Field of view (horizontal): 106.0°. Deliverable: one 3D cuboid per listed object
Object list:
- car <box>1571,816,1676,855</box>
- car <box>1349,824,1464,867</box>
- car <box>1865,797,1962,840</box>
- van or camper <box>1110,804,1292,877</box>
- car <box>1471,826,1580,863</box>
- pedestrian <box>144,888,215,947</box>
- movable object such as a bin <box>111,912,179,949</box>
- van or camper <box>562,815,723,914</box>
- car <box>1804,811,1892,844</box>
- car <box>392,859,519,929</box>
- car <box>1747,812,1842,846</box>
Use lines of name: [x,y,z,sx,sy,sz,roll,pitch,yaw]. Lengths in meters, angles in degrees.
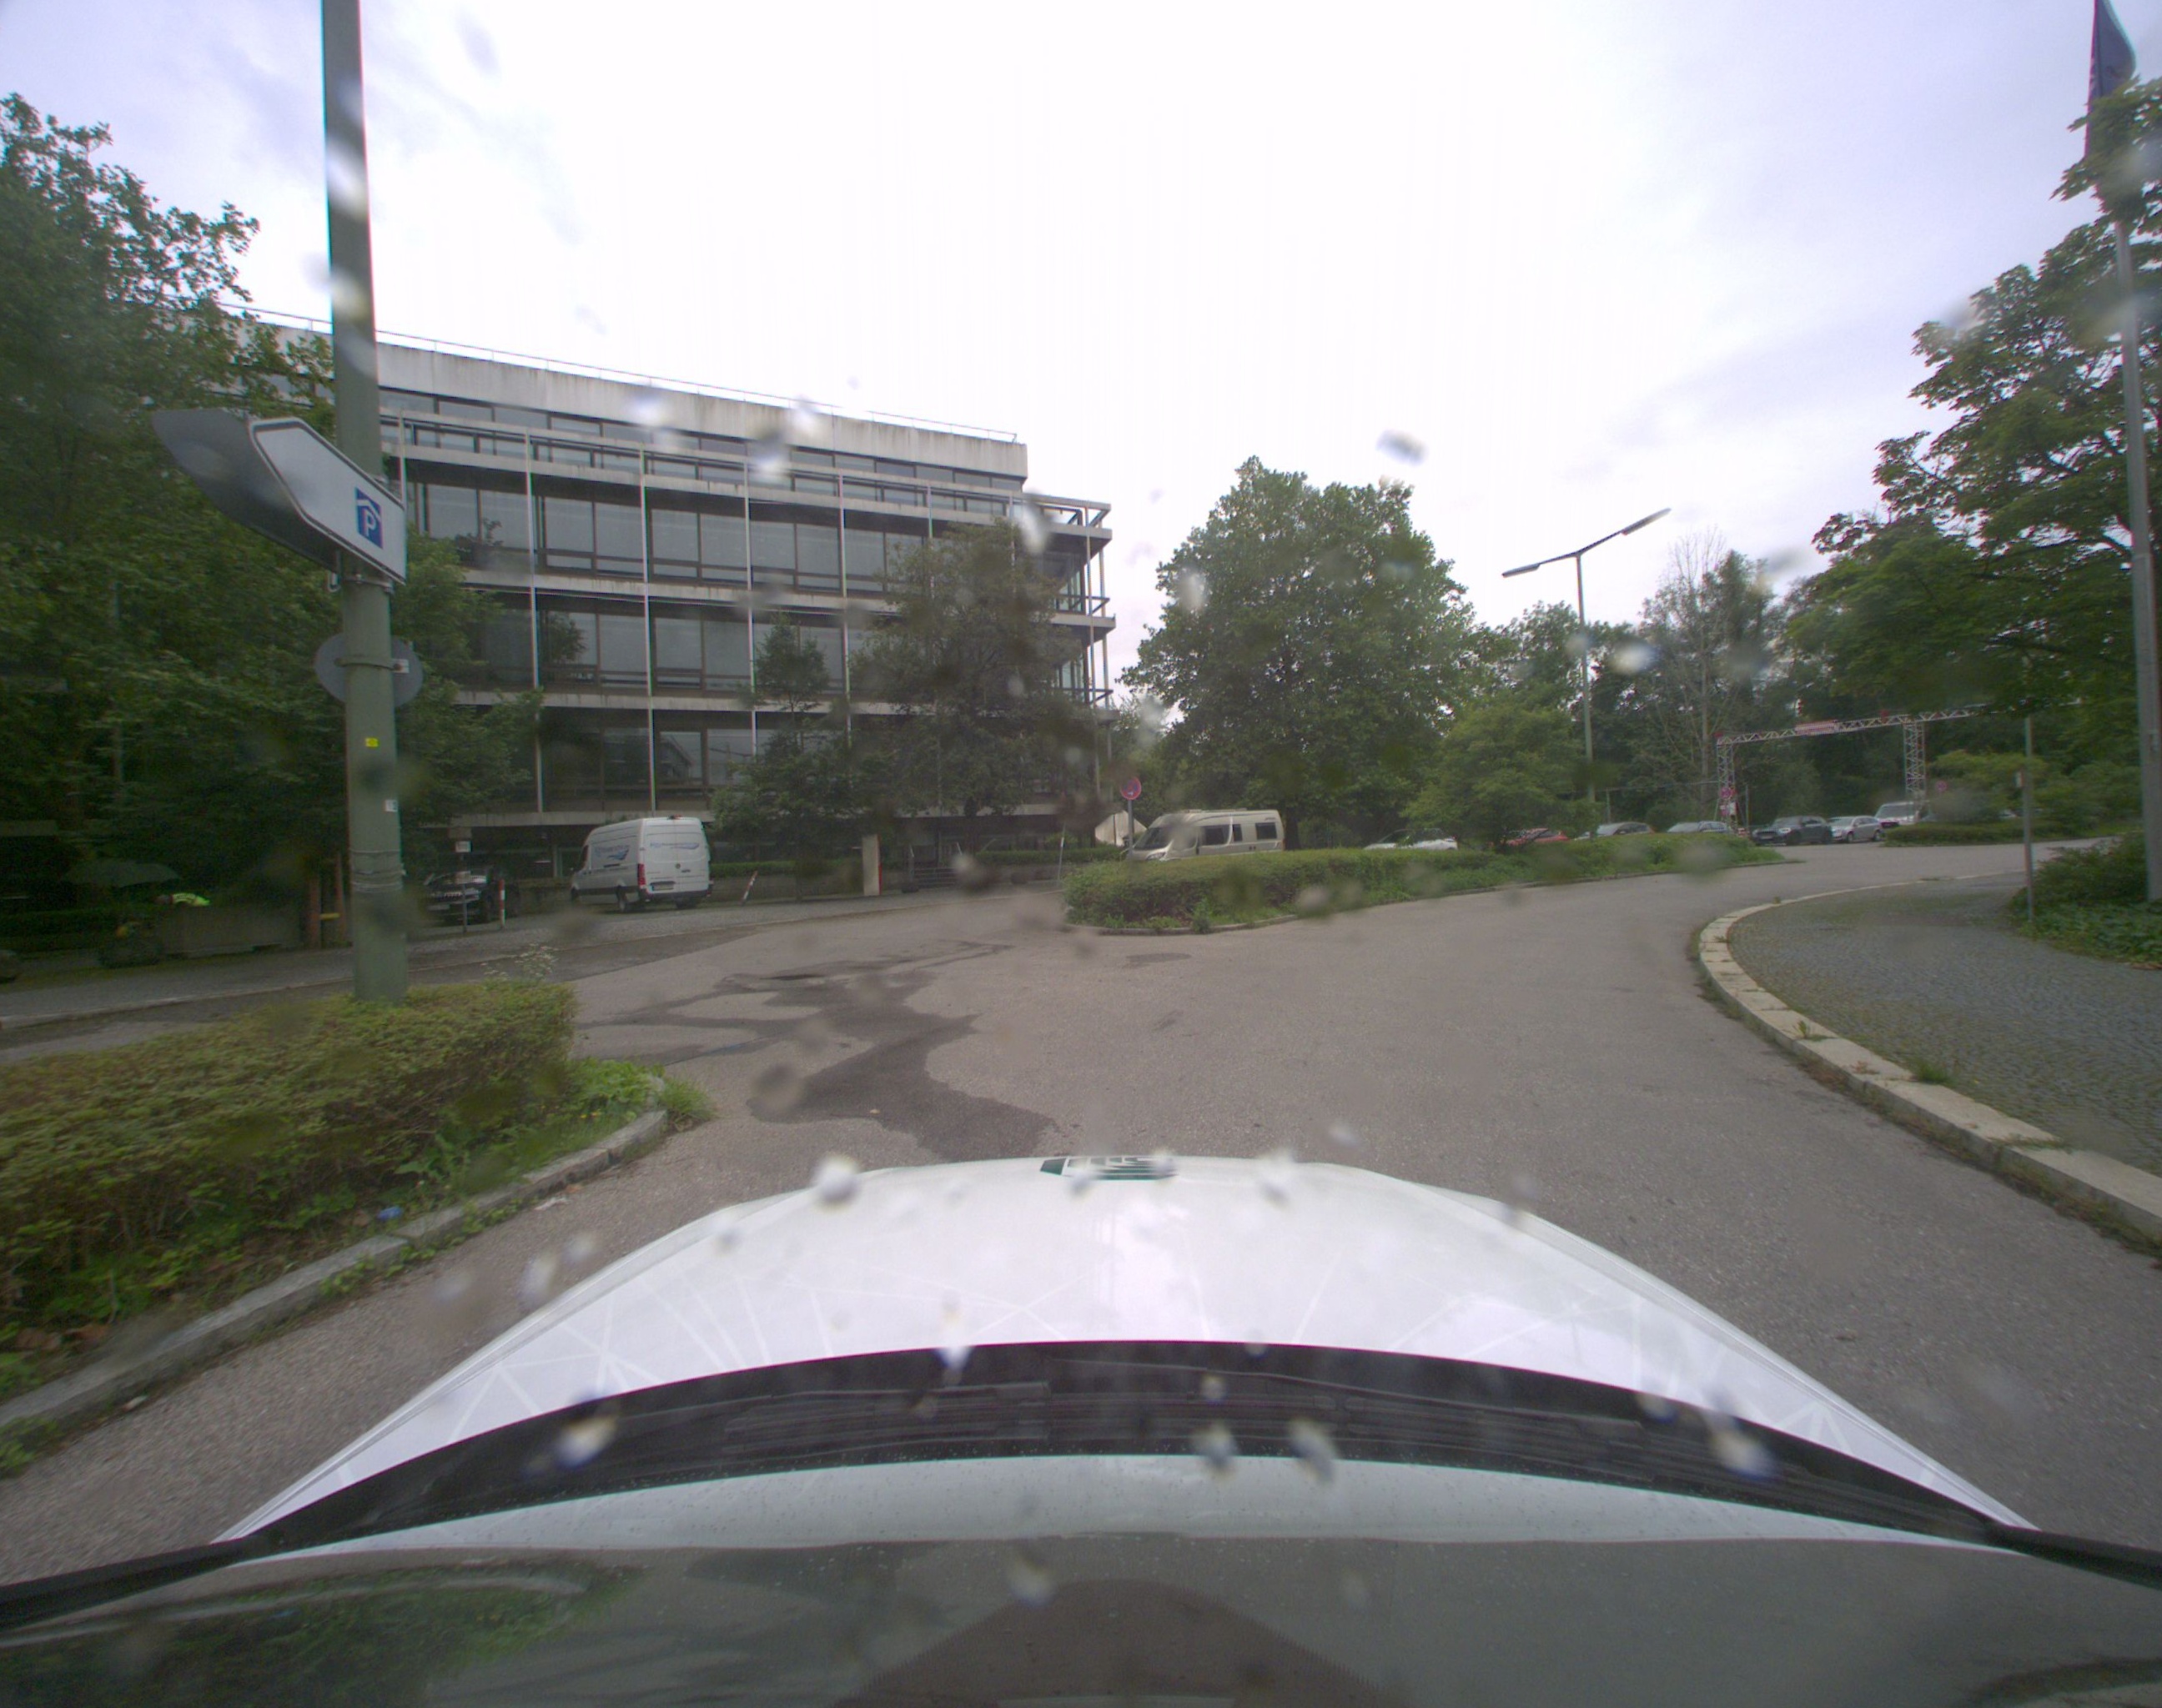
car: [24.722,-0.820,37.116,4.001,1.574,1.986,-3,0,-21]
car: [13.101,-0.348,32.834,4.001,1.508,1.986,-3,0,-21]
car: [47.056,-2.011,46.023,4.876,2.227,2.189,-3,0,-23]
van or camper: [4.265,-0.514,28.176,6.447,2.281,2.230,-2,0,-36]
car: [19.097,-0.403,35.008,4.001,1.409,1.986,-3,0,-21]
pedestrian: [-20.858,1.466,18.855,0.929,1.278,0.538,-2,0,-20]
movable object such as a bin: [-21.364,1.733,18.606,0.837,0.753,0.569,-2,0,-19]
van or camper: [-13.207,0.420,24.273,6.455,2.580,2.176,-4,-2,43]
car: [41.437,-1.408,43.998,4.005,1.574,1.985,-3,0,-23]
car: [-17.722,1.066,23.301,1.951,1.721,4.203,-2,0,-25]
car: [36.798,-1.290,42.010,4.001,1.574,1.986,-3,0,-21]
